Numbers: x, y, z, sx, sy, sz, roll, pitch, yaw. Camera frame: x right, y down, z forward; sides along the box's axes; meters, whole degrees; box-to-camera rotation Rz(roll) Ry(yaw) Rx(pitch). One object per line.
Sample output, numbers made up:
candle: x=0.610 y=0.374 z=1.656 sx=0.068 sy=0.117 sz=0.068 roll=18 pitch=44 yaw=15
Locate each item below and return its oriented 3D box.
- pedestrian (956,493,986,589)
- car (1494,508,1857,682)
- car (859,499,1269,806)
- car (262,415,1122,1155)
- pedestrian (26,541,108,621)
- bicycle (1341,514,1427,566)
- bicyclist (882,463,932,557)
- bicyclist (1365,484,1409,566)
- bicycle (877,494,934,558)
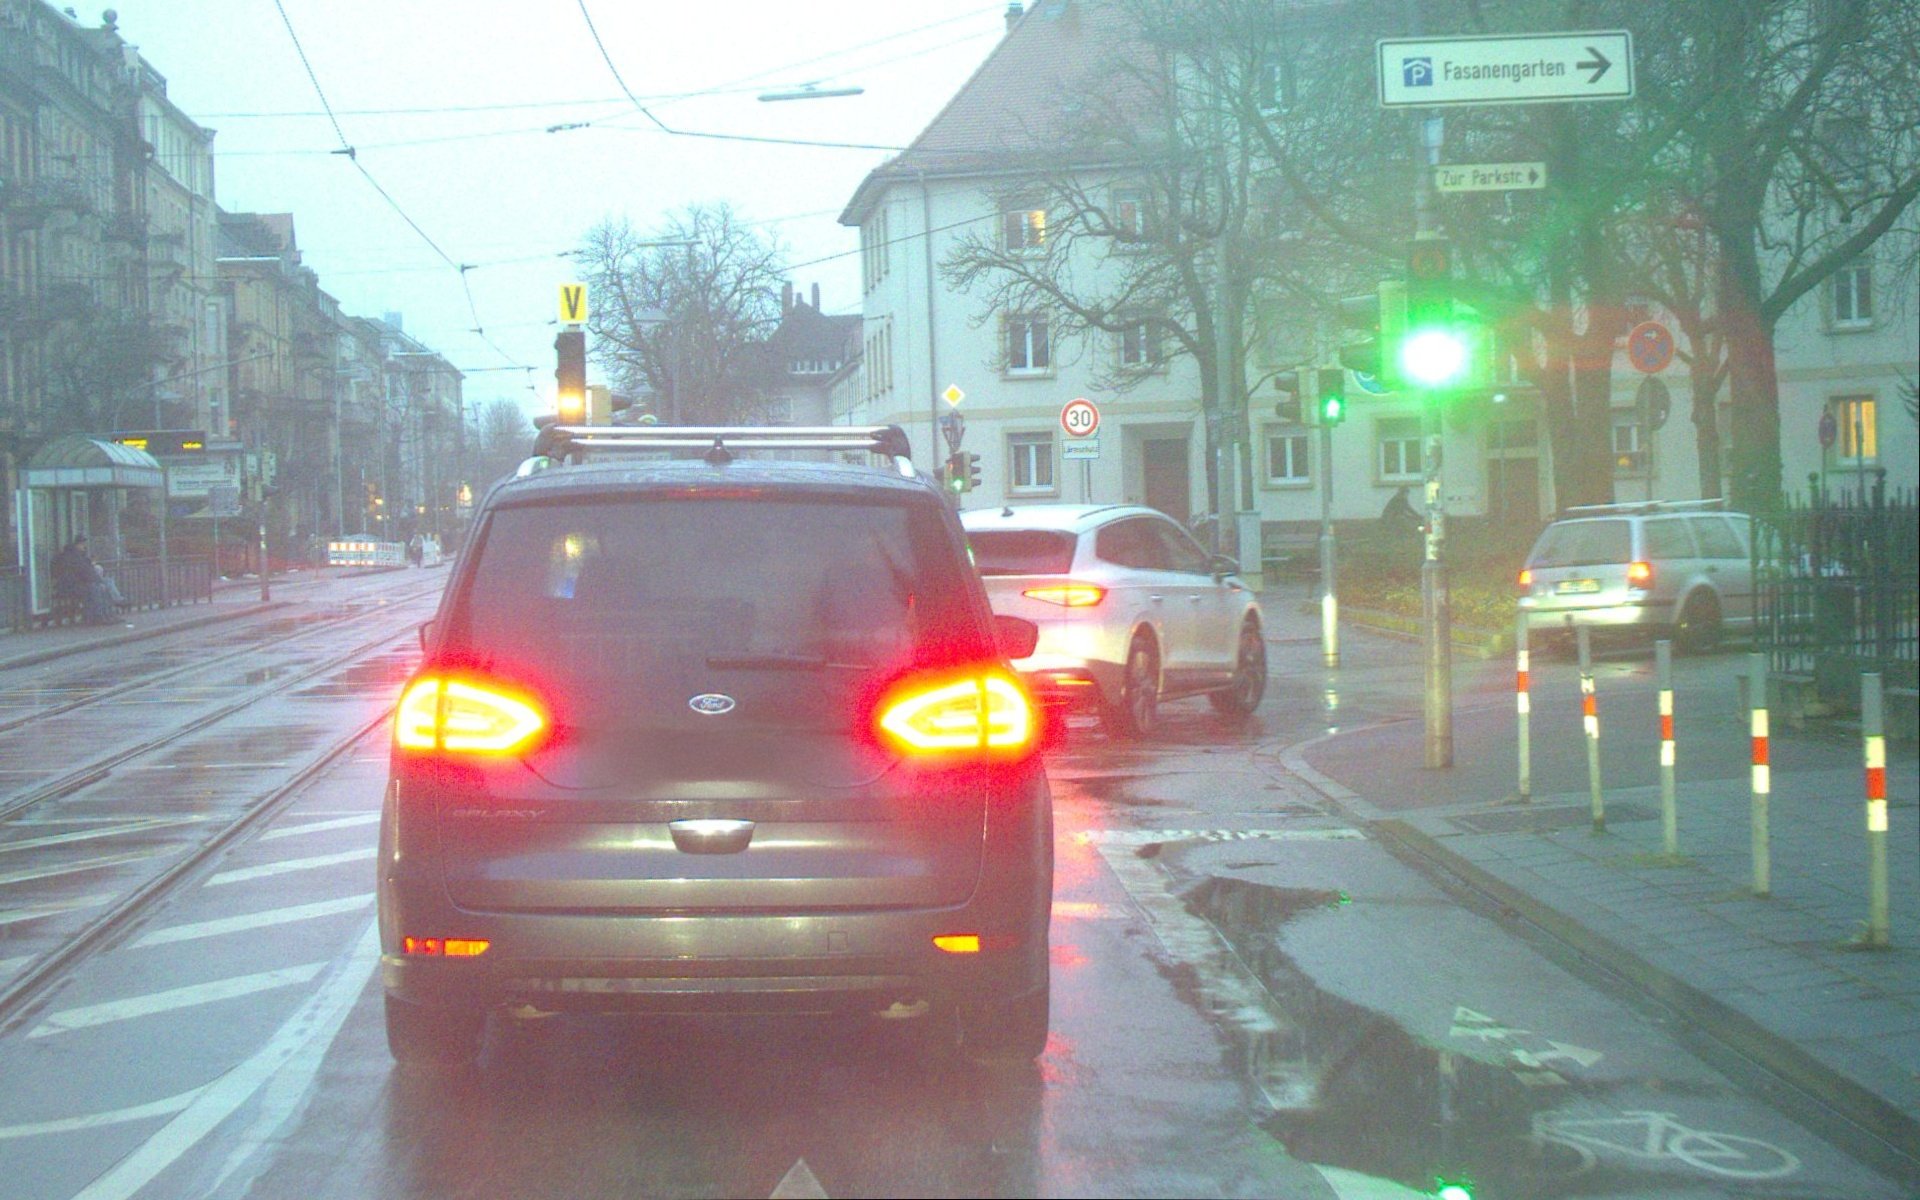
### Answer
pedestrian: x=0.224 y=-1.246 z=72.353 sx=0.596 sy=2.007 sz=0.631 roll=-1 pitch=1 yaw=-1
car: x=7.245 y=-0.086 z=34.615 sx=1.713 sy=1.656 sz=3.990 roll=0 pitch=1 yaw=44
car: x=0.854 y=0.311 z=24.755 sx=1.710 sy=2.007 sz=4.295 roll=-1 pitch=1 yaw=19
car: x=-0.771 y=0.403 z=10.780 sx=2.103 sy=1.810 sz=4.661 roll=0 pitch=1 yaw=-3
pedestrian: x=-13.565 y=-0.296 z=52.260 sx=1.047 sy=1.196 sz=0.885 roll=-1 pitch=1 yaw=-4
bicycle: x=10.019 y=-1.419 z=81.206 sx=1.853 sy=1.179 sz=0.713 roll=-1 pitch=1 yaw=28
bicyclist: x=-0.967 y=-1.631 z=62.429 sx=0.716 sy=1.657 sz=1.057 roll=2 pitch=1 yaw=-9
bicyclist: x=10.090 y=-1.782 z=81.155 sx=0.808 sy=1.912 sz=0.707 roll=-1 pitch=1 yaw=27
bicycle: x=-0.992 y=-1.351 z=62.514 sx=0.716 sy=1.108 sz=1.942 roll=2 pitch=1 yaw=-9
